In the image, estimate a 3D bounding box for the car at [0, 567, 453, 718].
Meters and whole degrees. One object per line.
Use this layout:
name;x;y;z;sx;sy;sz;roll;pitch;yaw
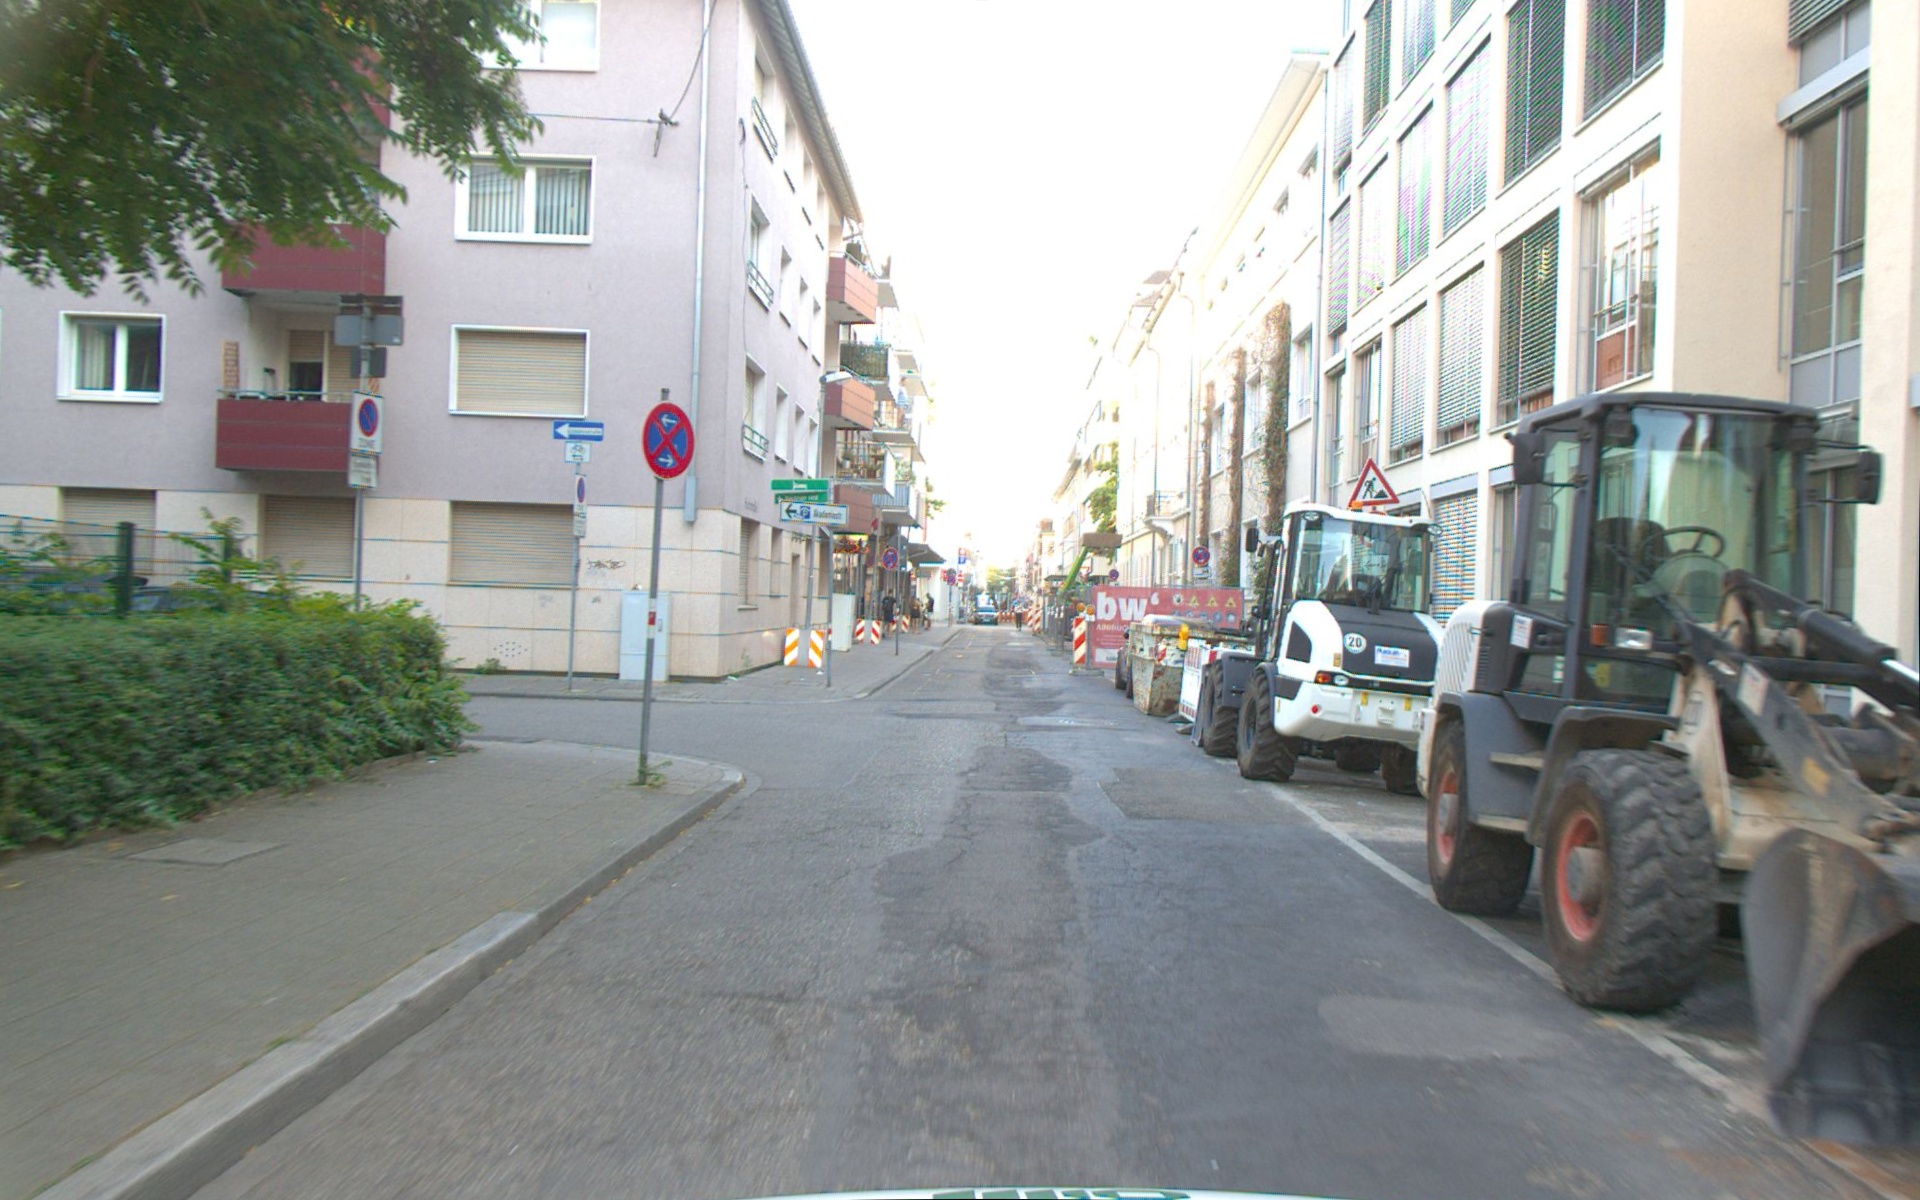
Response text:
car;-7.968;0.442;18.148;4.256;1.483;1.686;1;0;-1

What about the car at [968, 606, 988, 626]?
car;1.340;1.156;122.171;1.444;1.422;3.332;2;0;1

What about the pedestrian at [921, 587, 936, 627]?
pedestrian;-1.562;0.342;81.264;0.560;1.919;0.656;2;0;10

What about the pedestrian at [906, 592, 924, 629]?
pedestrian;-1.959;0.457;72.256;0.634;1.592;0.629;2;0;-14

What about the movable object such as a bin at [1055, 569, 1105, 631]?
movable object such as a bin;6.535;-0.030;90.500;2.419;3.185;4.298;2;1;1

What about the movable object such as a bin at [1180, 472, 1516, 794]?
movable object such as a bin;3.640;0.274;16.717;2.121;2.641;5.544;2;0;1

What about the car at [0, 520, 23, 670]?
car;-12.826;-0.113;17.943;4.279;1.668;1.829;2;1;3

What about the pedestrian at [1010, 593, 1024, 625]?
pedestrian;3.213;0.513;92.524;0.705;1.770;0.647;1;0;-1

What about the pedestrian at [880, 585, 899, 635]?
pedestrian;-2.627;0.361;61.935;0.616;1.840;0.647;1;0;3

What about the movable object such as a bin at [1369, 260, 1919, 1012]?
movable object such as a bin;3.297;0.125;8.005;1.759;2.680;4.112;1;0;3

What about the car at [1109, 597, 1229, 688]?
car;3.682;0.712;29.810;1.658;1.430;4.480;2;0;1
